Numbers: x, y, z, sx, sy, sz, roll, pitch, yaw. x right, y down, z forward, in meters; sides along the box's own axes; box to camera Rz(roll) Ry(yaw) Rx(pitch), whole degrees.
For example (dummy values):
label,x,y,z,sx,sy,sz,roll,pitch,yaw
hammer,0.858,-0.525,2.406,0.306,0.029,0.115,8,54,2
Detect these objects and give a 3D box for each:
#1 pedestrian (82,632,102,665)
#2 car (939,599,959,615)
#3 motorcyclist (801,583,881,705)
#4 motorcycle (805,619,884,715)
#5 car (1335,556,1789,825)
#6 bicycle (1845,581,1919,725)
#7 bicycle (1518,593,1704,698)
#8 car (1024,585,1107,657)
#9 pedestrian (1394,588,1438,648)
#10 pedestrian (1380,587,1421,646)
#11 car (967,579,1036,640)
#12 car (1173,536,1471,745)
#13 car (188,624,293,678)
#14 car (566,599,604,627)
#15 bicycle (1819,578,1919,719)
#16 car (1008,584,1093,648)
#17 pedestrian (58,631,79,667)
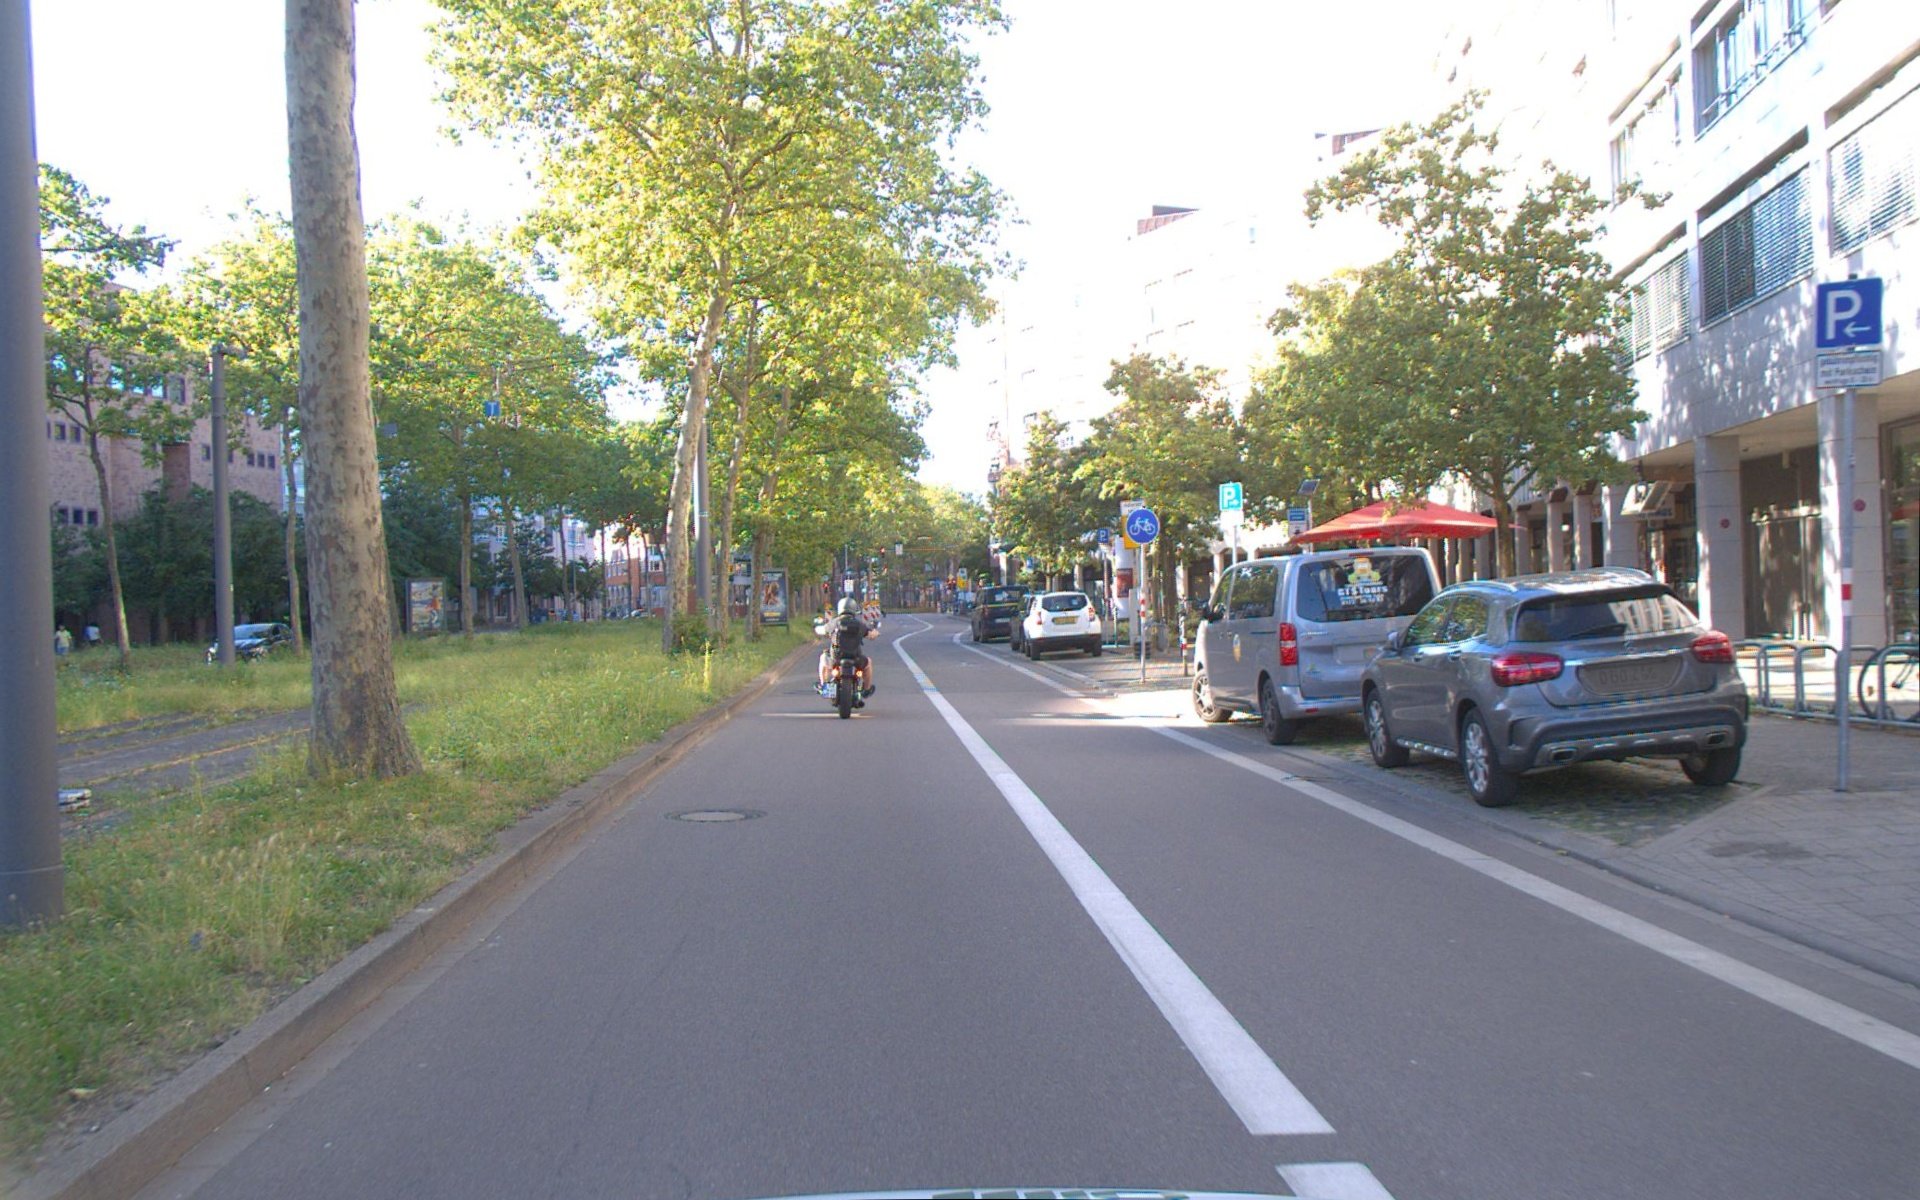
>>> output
label,x,y,z,sx,sy,sz,roll,pitch,yaw
pedestrian,-35.098,1.952,66.899,0.492,1.313,0.522,-2,0,2
car,-1.261,0.781,190.707,1.952,1.735,4.002,-2,0,3
motorcyclist,-1.639,0.580,22.707,1.002,1.579,1.285,-2,1,-5
motorcycle,-1.602,0.887,22.724,0.986,1.145,2.321,-2,1,-5
car,4.387,0.581,12.887,1.822,1.600,4.414,-4,0,0
bicycle,8.590,0.405,14.069,1.795,1.171,0.470,-3,0,2
bicycle,7.440,0.510,18.944,1.831,1.120,0.740,-2,0,-7
car,2.646,0.511,42.277,1.821,1.666,3.867,-2,0,0
pedestrian,12.218,0.478,44.366,0.852,1.573,0.994,-2,0,-1
pedestrian,12.171,0.450,45.698,0.852,1.573,0.994,-2,0,3
car,1.441,0.335,59.482,1.990,2.011,4.411,-3,0,-4
car,3.820,0.397,18.456,1.884,1.875,4.921,-4,0,-3
car,-21.254,1.480,49.001,1.561,1.423,3.732,-2,0,-2
car,-23.762,0.819,104.869,1.864,1.716,3.995,-2,0,-6
bicycle,8.607,0.394,14.547,1.795,1.171,0.470,-3,0,2
car,2.579,0.458,48.068,1.948,1.657,4.082,-3,0,-4
pedestrian,-33.815,1.862,62.734,0.492,1.313,0.522,-2,0,2
